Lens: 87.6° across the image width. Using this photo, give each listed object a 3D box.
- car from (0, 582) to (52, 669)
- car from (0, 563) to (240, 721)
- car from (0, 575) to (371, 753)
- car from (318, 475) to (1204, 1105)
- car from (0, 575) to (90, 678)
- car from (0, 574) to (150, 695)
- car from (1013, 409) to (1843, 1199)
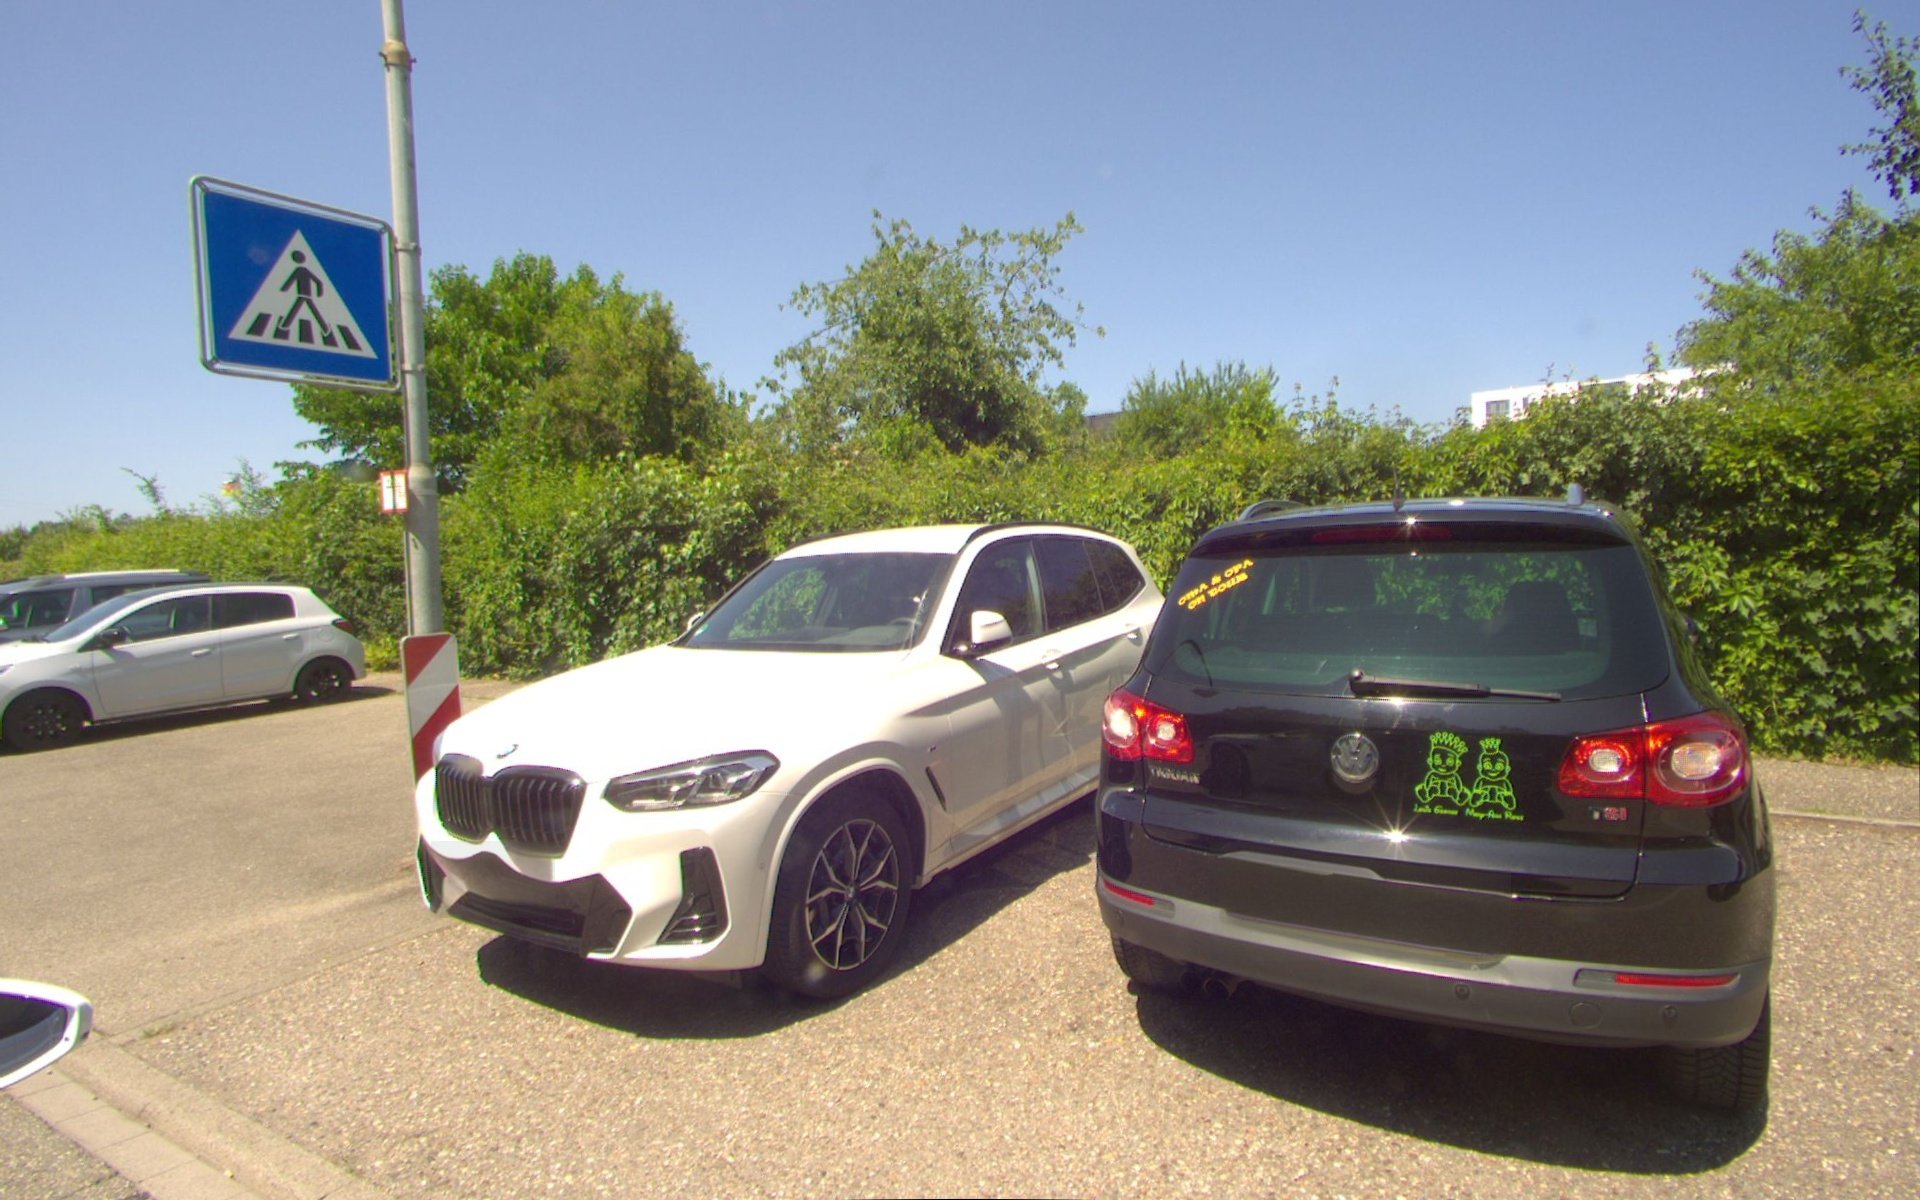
[{"bbox_3d":[-18.295,0.514,17.423,1.566,1.525,3.374,1,4,36],"label":"car"},{"bbox_3d":[-11.399,0.498,12.109,1.637,1.664,3.953,0,5,27],"label":"car"},{"bbox_3d":[-8.791,0.569,10.918,1.588,1.471,3.673,1,5,36],"label":"car"},{"bbox_3d":[-0.398,0.434,5.128,1.825,1.753,4.440,-1,3,33],"label":"car"},{"bbox_3d":[-16.182,0.520,15.239,1.835,1.545,3.955,0,5,27],"label":"car"},{"bbox_3d":[-13.702,0.516,13.872,1.515,1.549,3.446,0,5,28],"label":"car"},{"bbox_3d":[1.937,0.407,4.036,1.741,1.709,3.962,0,3,32],"label":"car"}]
